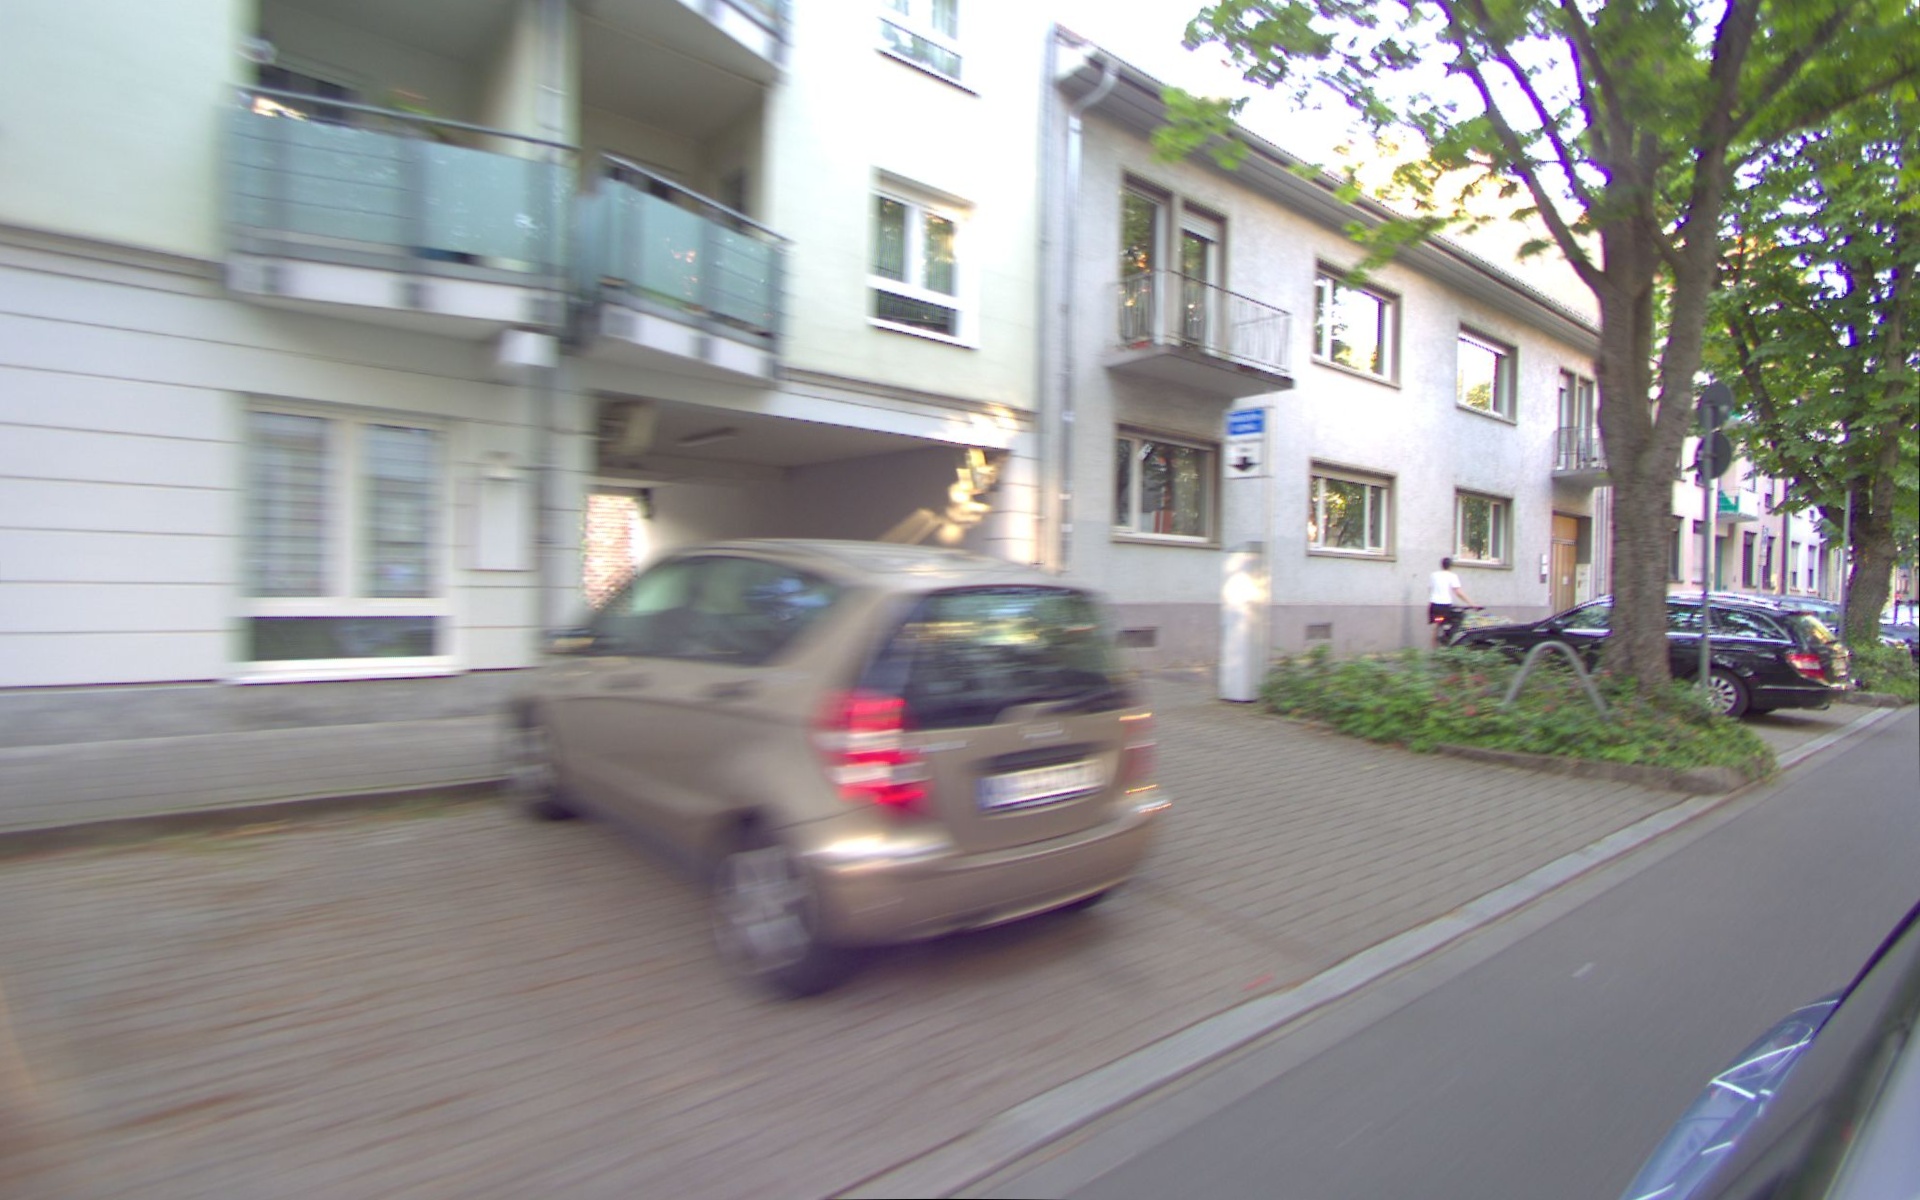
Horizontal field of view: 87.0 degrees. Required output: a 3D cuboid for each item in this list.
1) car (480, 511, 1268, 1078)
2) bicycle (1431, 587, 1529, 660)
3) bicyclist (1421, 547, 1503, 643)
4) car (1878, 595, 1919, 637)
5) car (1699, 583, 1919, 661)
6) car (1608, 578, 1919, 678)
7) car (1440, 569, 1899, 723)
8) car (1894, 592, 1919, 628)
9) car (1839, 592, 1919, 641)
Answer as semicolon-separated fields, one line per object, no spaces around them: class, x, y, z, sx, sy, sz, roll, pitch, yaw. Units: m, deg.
car;-0.784;0.427;5.010;1.883;1.604;3.979;0;4;-41
bicycle;9.255;0.370;17.918;0.620;1.178;3.348;2;1;43
bicyclist;8.852;-0.103;17.835;1.117;1.624;0.971;0;1;-45
car;36.944;0.647;36.938;1.953;1.516;4.884;0;1;-40
car;20.342;0.470;23.409;2.004;1.465;4.855;0;3;-38
car;15.442;0.435;19.369;1.964;1.405;4.692;0;4;-39
car;9.025;0.441;13.281;1.973;1.444;4.476;0;4;-36
car;40.121;0.478;40.565;1.685;1.428;3.838;0;2;-44
car;30.728;0.536;32.160;1.768;1.509;4.086;0;1;-43
